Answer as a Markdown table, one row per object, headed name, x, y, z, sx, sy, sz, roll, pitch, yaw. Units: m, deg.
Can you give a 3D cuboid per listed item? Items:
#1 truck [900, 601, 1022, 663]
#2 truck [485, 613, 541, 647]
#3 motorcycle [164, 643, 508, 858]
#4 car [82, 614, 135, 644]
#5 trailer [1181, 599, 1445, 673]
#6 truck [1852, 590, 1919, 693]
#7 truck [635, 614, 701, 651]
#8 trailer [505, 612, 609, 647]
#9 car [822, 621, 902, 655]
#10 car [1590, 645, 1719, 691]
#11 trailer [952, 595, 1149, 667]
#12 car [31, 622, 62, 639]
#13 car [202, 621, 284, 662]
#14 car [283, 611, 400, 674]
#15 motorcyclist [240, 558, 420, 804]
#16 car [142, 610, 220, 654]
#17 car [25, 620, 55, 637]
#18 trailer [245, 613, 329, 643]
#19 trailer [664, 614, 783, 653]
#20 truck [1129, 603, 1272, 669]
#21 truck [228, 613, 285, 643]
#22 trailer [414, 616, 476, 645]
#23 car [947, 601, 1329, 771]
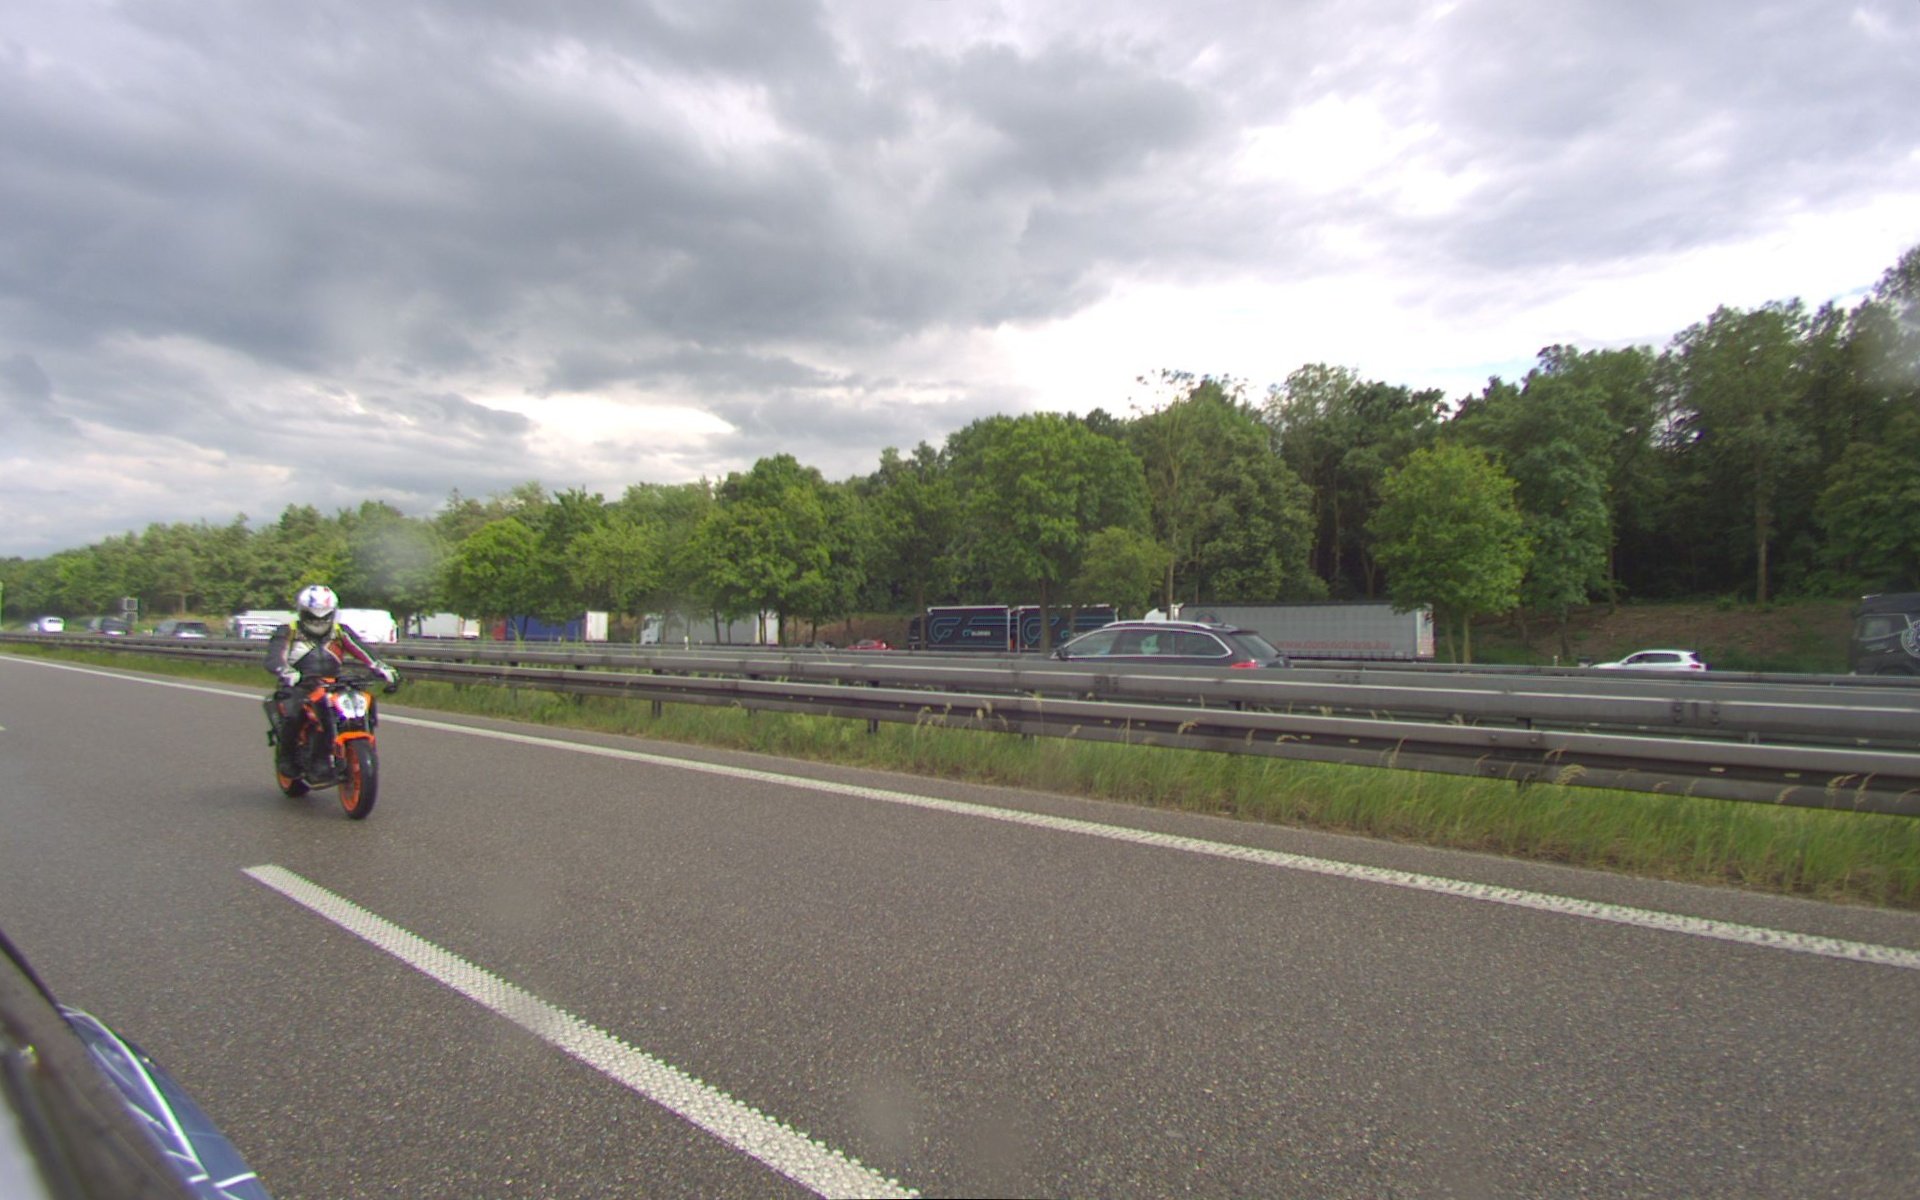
| name | x | y | z | sx | sy | sz | roll | pitch | yaw |
| --- | --- | --- | --- | --- | --- | --- | --- | --- | --- |
| truck | -0.003 | 2.237 | 73.390 | 8.413 | 4.266 | 3.748 | -1 | 0 | 41 |
| truck | -47.768 | 3.137 | 108.116 | 5.880 | 3.482 | 2.837 | -1 | 0 | 33 |
| motorcycle | -4.838 | 0.994 | 7.713 | 3.189 | 1.235 | 1.174 | -1 | 0 | 37 |
| car | -56.948 | 1.935 | 67.667 | 5.055 | 1.905 | 1.933 | -1 | 0 | 40 |
| trailer | 19.037 | 1.937 | 55.760 | 13.340 | 3.677 | 3.749 | -2 | -2 | 42 |
| truck | 37.012 | 1.469 | 36.718 | 3.744 | 3.688 | 6.710 | 0 | 0 | -44 |
| truck | -27.267 | 3.002 | 94.541 | 5.498 | 3.298 | 3.322 | -1 | 0 | 37 |
| trailer | -41.531 | 2.998 | 103.934 | 13.388 | 3.431 | 2.800 | -1 | -2 | 34 |
| car | -7.777 | 2.930 | 79.559 | 6.207 | 2.501 | 2.764 | -1 | 0 | 41 |
| car | 30.185 | 2.913 | 44.081 | 4.368 | 1.731 | 2.036 | -1 | 0 | 43 |
| trailer | 5.786 | 2.076 | 68.330 | 13.796 | 4.439 | 3.749 | -2 | -2 | 42 |
| car | -107.056 | 3.557 | 118.543 | 5.256 | 1.905 | 2.026 | -1 | 0 | 40 |
| car | -39.566 | 2.238 | 55.739 | 6.495 | 2.061 | 2.152 | -1 | 0 | 40 |
| car | -22.112 | 1.464 | 36.081 | 5.205 | 2.061 | 2.030 | -1 | 0 | 40 |
| motorcyclist | -4.812 | 0.569 | 7.733 | 0.999 | 1.719 | 0.872 | -1 | 0 | 38 |
| car | -38.613 | 1.534 | 50.147 | 4.648 | 2.061 | 2.152 | -1 | 0 | 40 |
| car | -111.671 | 3.467 | 122.849 | 5.256 | 1.905 | 2.026 | -1 | 0 | 40 |
| trailer | -86.049 | 3.600 | 129.250 | 12.504 | 3.767 | 3.185 | -1 | -2 | 27 |
| trailer | -21.111 | 2.914 | 89.672 | 12.458 | 3.241 | 3.315 | -1 | -2 | 39 |
| truck | 14.191 | 2.031 | 60.088 | 7.351 | 3.616 | 3.748 | -1 | 0 | 41 |
| truck | -91.919 | 3.669 | 132.166 | 6.880 | 3.732 | 3.189 | -1 | 0 | 26 |
| trailer | -58.265 | 3.450 | 114.508 | 7.712 | 3.257 | 2.560 | -1 | -2 | 31 |
| car | 2.444 | 1.084 | 14.847 | 5.205 | 2.061 | 2.030 | -1 | 0 | 40 |
